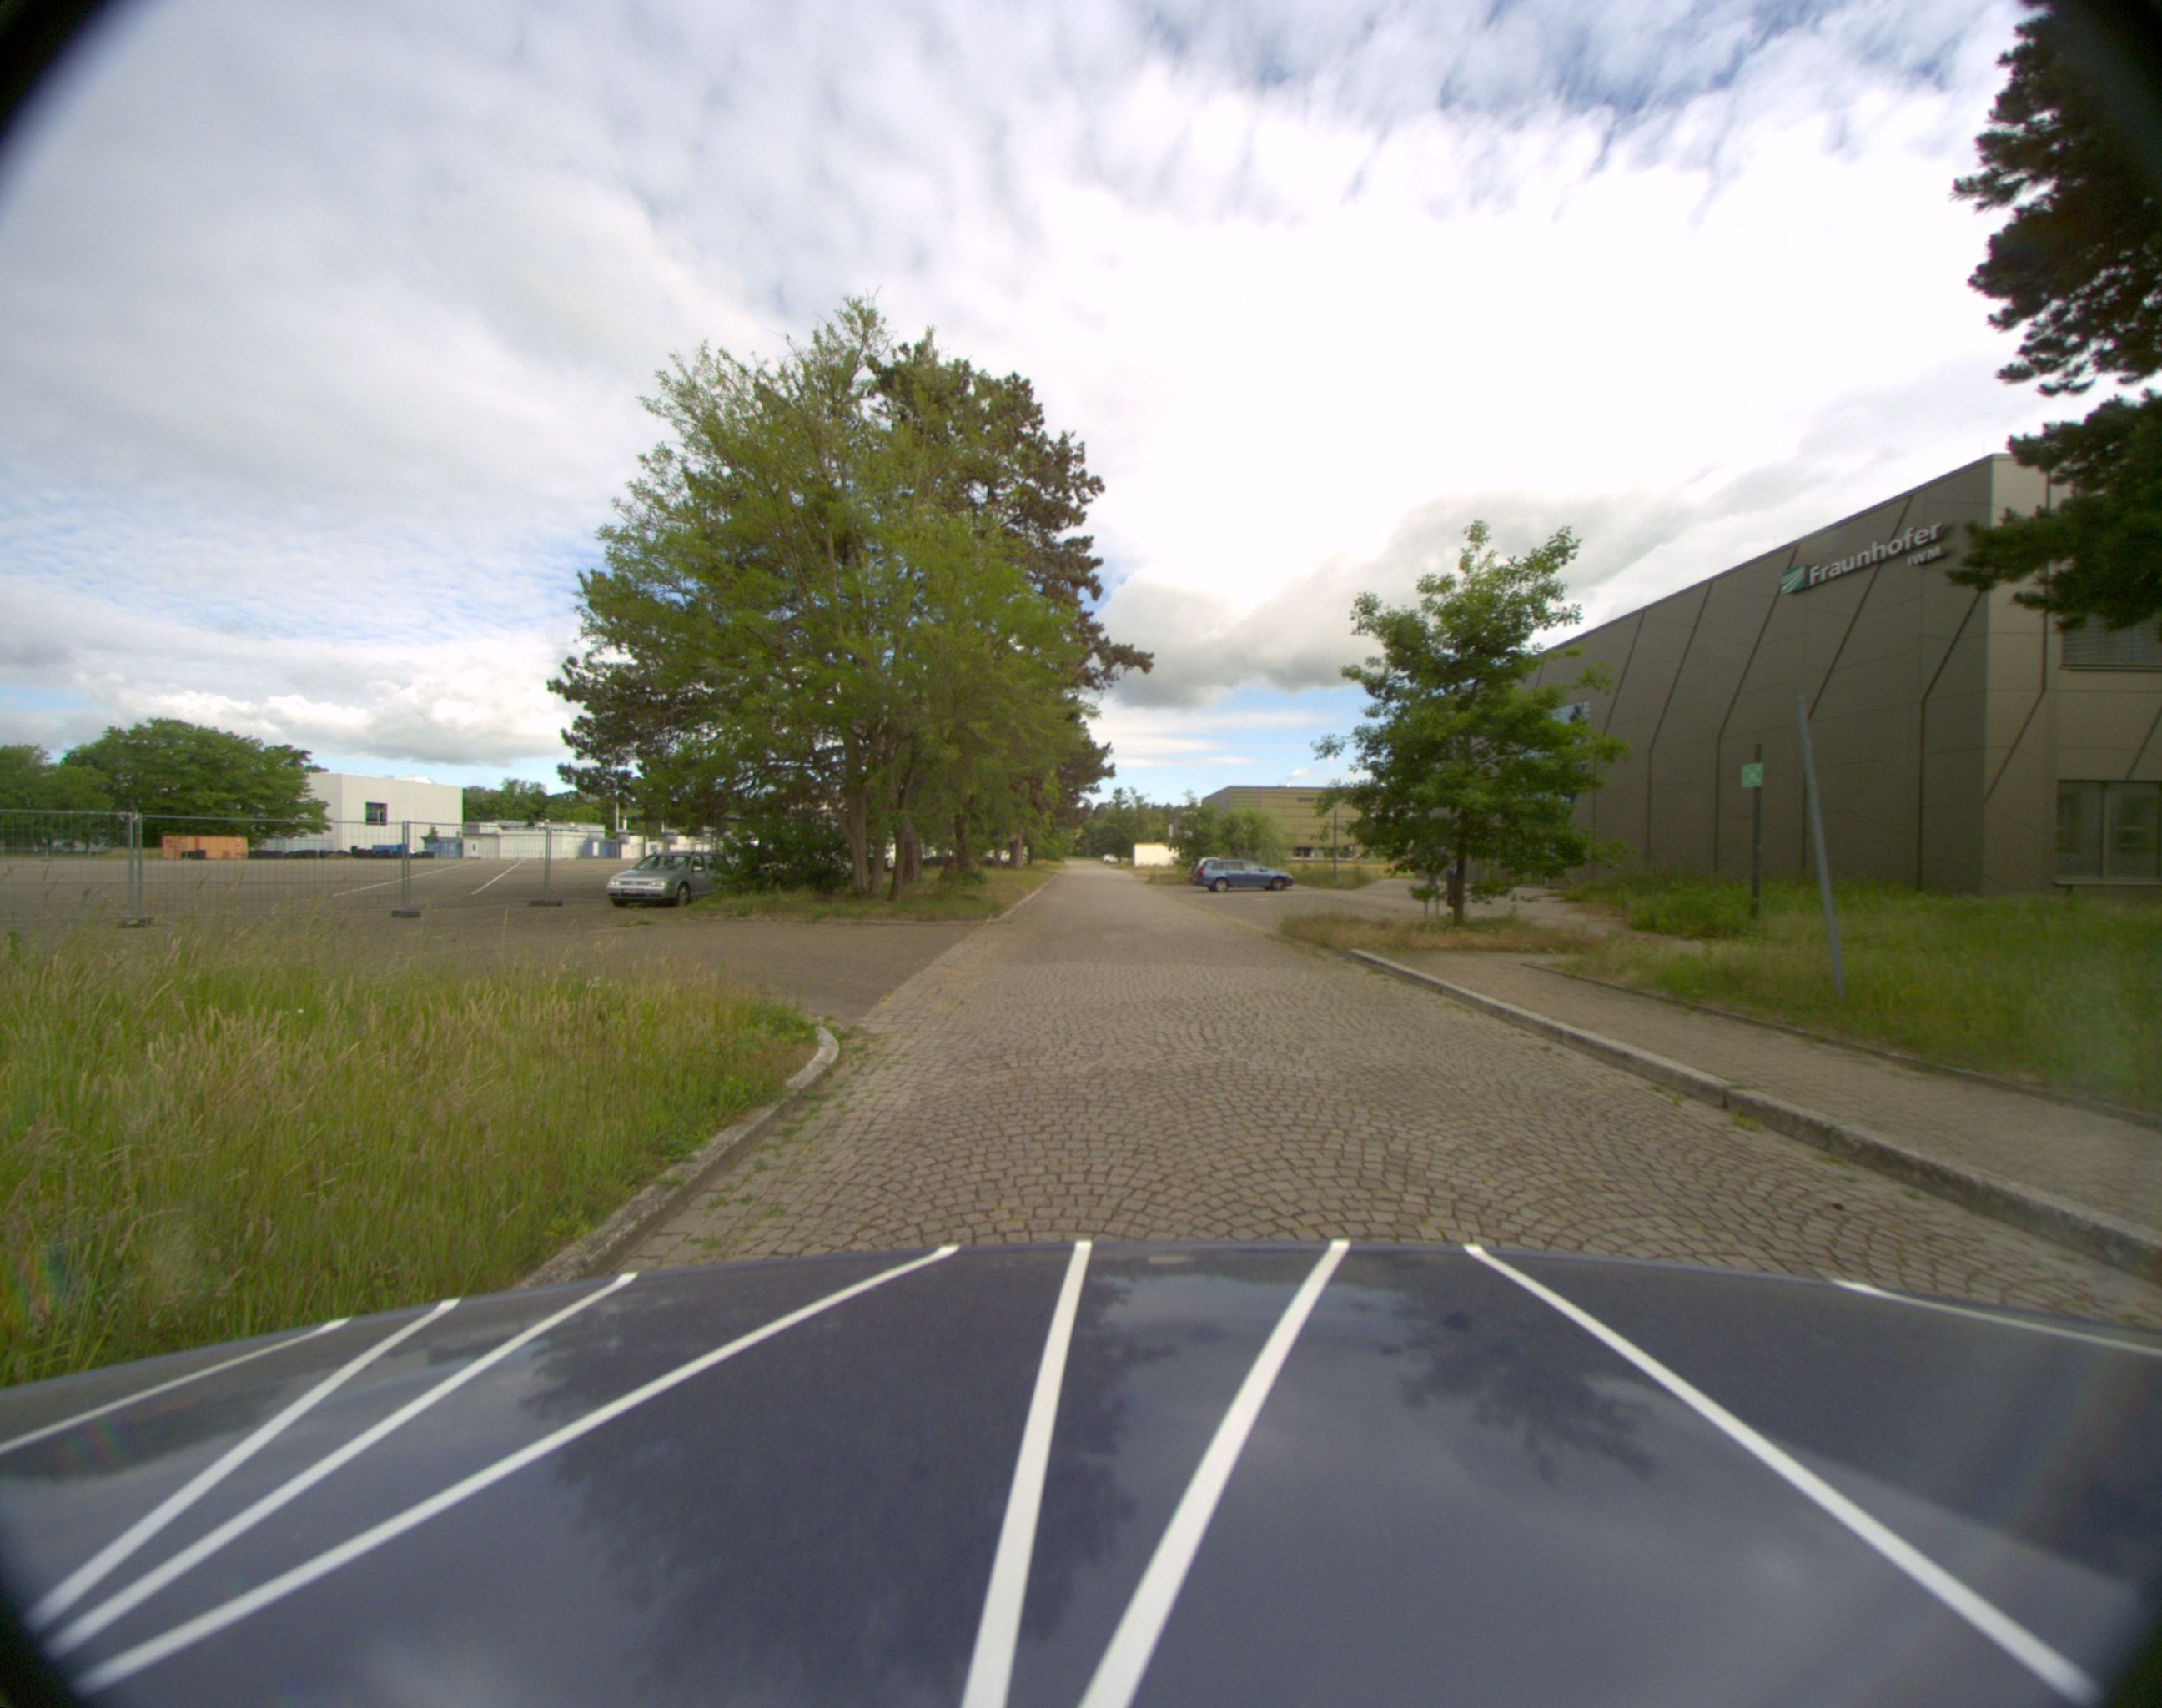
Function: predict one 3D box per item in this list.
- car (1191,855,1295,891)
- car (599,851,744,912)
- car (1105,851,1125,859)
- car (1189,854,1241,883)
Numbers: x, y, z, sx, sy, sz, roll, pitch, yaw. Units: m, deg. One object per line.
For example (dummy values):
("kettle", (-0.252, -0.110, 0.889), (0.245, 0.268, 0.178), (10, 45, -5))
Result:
("car", (7.469, 0.859, 35.295), (4.427, 1.461, 1.633), (-1, 1, -2))
("car", (-11.017, 0.666, 20.850), (1.678, 1.442, 4.487), (0, 1, -2))
("car", (6.975, 0.182, 155.090), (4.062, 1.767, 1.792), (0, 1, 0))
("car", (7.495, 0.785, 42.664), (2.584, 1.521, 1.500), (-1, 1, -2))
